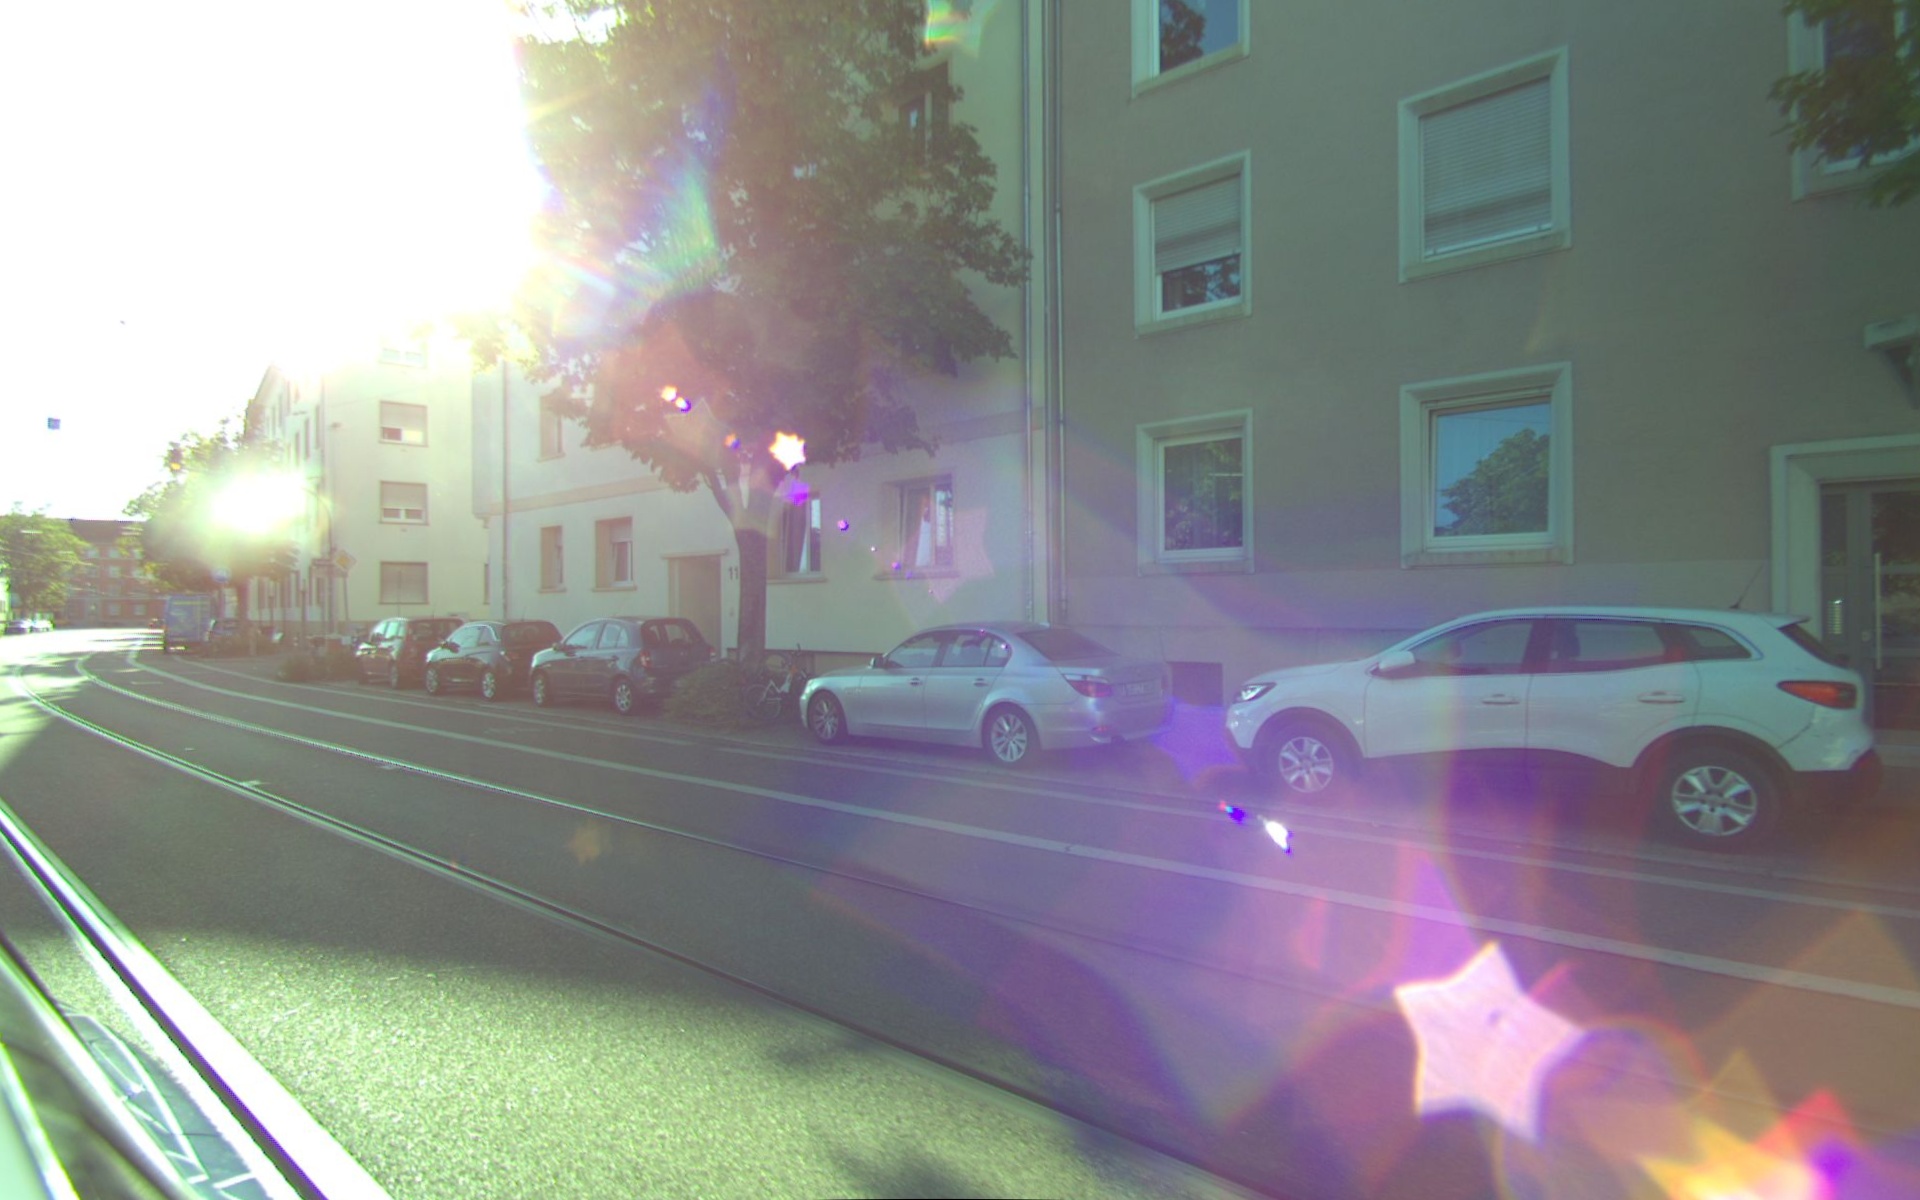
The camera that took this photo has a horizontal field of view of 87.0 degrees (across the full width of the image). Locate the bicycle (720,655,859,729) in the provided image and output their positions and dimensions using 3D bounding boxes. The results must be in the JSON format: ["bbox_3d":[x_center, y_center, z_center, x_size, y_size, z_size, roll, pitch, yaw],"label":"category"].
[{"bbox_3d":[-2.354,1.261,14.218,0.477,0.831,2.105,-1,0,40],"label":"bicycle"}]

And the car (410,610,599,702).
[{"bbox_3d":[-8.886,1.027,19.649,3.854,1.541,1.769,-1,1,39],"label":"car"}]

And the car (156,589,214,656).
[{"bbox_3d":[-35.870,1.005,46.860,1.991,2.847,6.044,-1,0,-37],"label":"car"}]

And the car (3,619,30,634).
[{"bbox_3d":[-98.559,2.778,105.740,1.680,1.493,4.667,3,-3,-39],"label":"car"}]

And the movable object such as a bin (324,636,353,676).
[{"bbox_3d":[-15.957,1.430,25.991,0.660,0.995,0.479,-1,0,44],"label":"movable object such as a bin"}]

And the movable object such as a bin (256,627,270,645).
[{"bbox_3d":[-38.396,1.982,55.773,0.588,0.941,0.569,1,-2,-41],"label":"movable object such as a bin"}]

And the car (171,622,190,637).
[{"bbox_3d":[-86.346,3.276,112.101,1.552,1.516,4.008,-1,0,-38],"label":"car"}]

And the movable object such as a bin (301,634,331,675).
[{"bbox_3d":[-16.296,1.375,25.618,0.660,0.995,0.479,-1,0,44],"label":"movable object such as a bin"}]

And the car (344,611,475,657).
[{"bbox_3d":[-19.989,1.200,36.821,3.840,1.469,1.770,-1,0,-43],"label":"car"}]

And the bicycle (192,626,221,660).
[{"bbox_3d":[-26.951,1.529,36.198,2.032,1.143,0.506,-1,0,45],"label":"bicycle"}]

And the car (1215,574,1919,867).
[{"bbox_3d":[4.325,0.715,7.755,4.289,1.680,1.636,-1,0,37],"label":"car"}]

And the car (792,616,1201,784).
[{"bbox_3d":[0.218,0.961,11.473,4.660,1.486,1.670,-1,0,43],"label":"car"}]

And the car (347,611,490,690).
[{"bbox_3d":[-12.019,1.050,22.346,1.669,1.541,4.002,-2,0,-45],"label":"car"}]

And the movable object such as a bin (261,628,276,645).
[{"bbox_3d":[-37.196,1.958,54.420,0.588,0.941,0.569,1,-2,-41],"label":"movable object such as a bin"}]

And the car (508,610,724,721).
[{"bbox_3d":[-5.794,1.016,16.887,3.725,1.626,1.576,-1,0,37],"label":"car"}]

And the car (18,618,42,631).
[{"bbox_3d":[-107.026,2.810,116.501,1.690,1.501,4.632,1,-2,-39],"label":"car"}]

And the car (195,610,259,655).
[{"bbox_3d":[-29.933,1.285,41.274,1.769,1.572,4.651,-7,4,-39],"label":"car"}]
